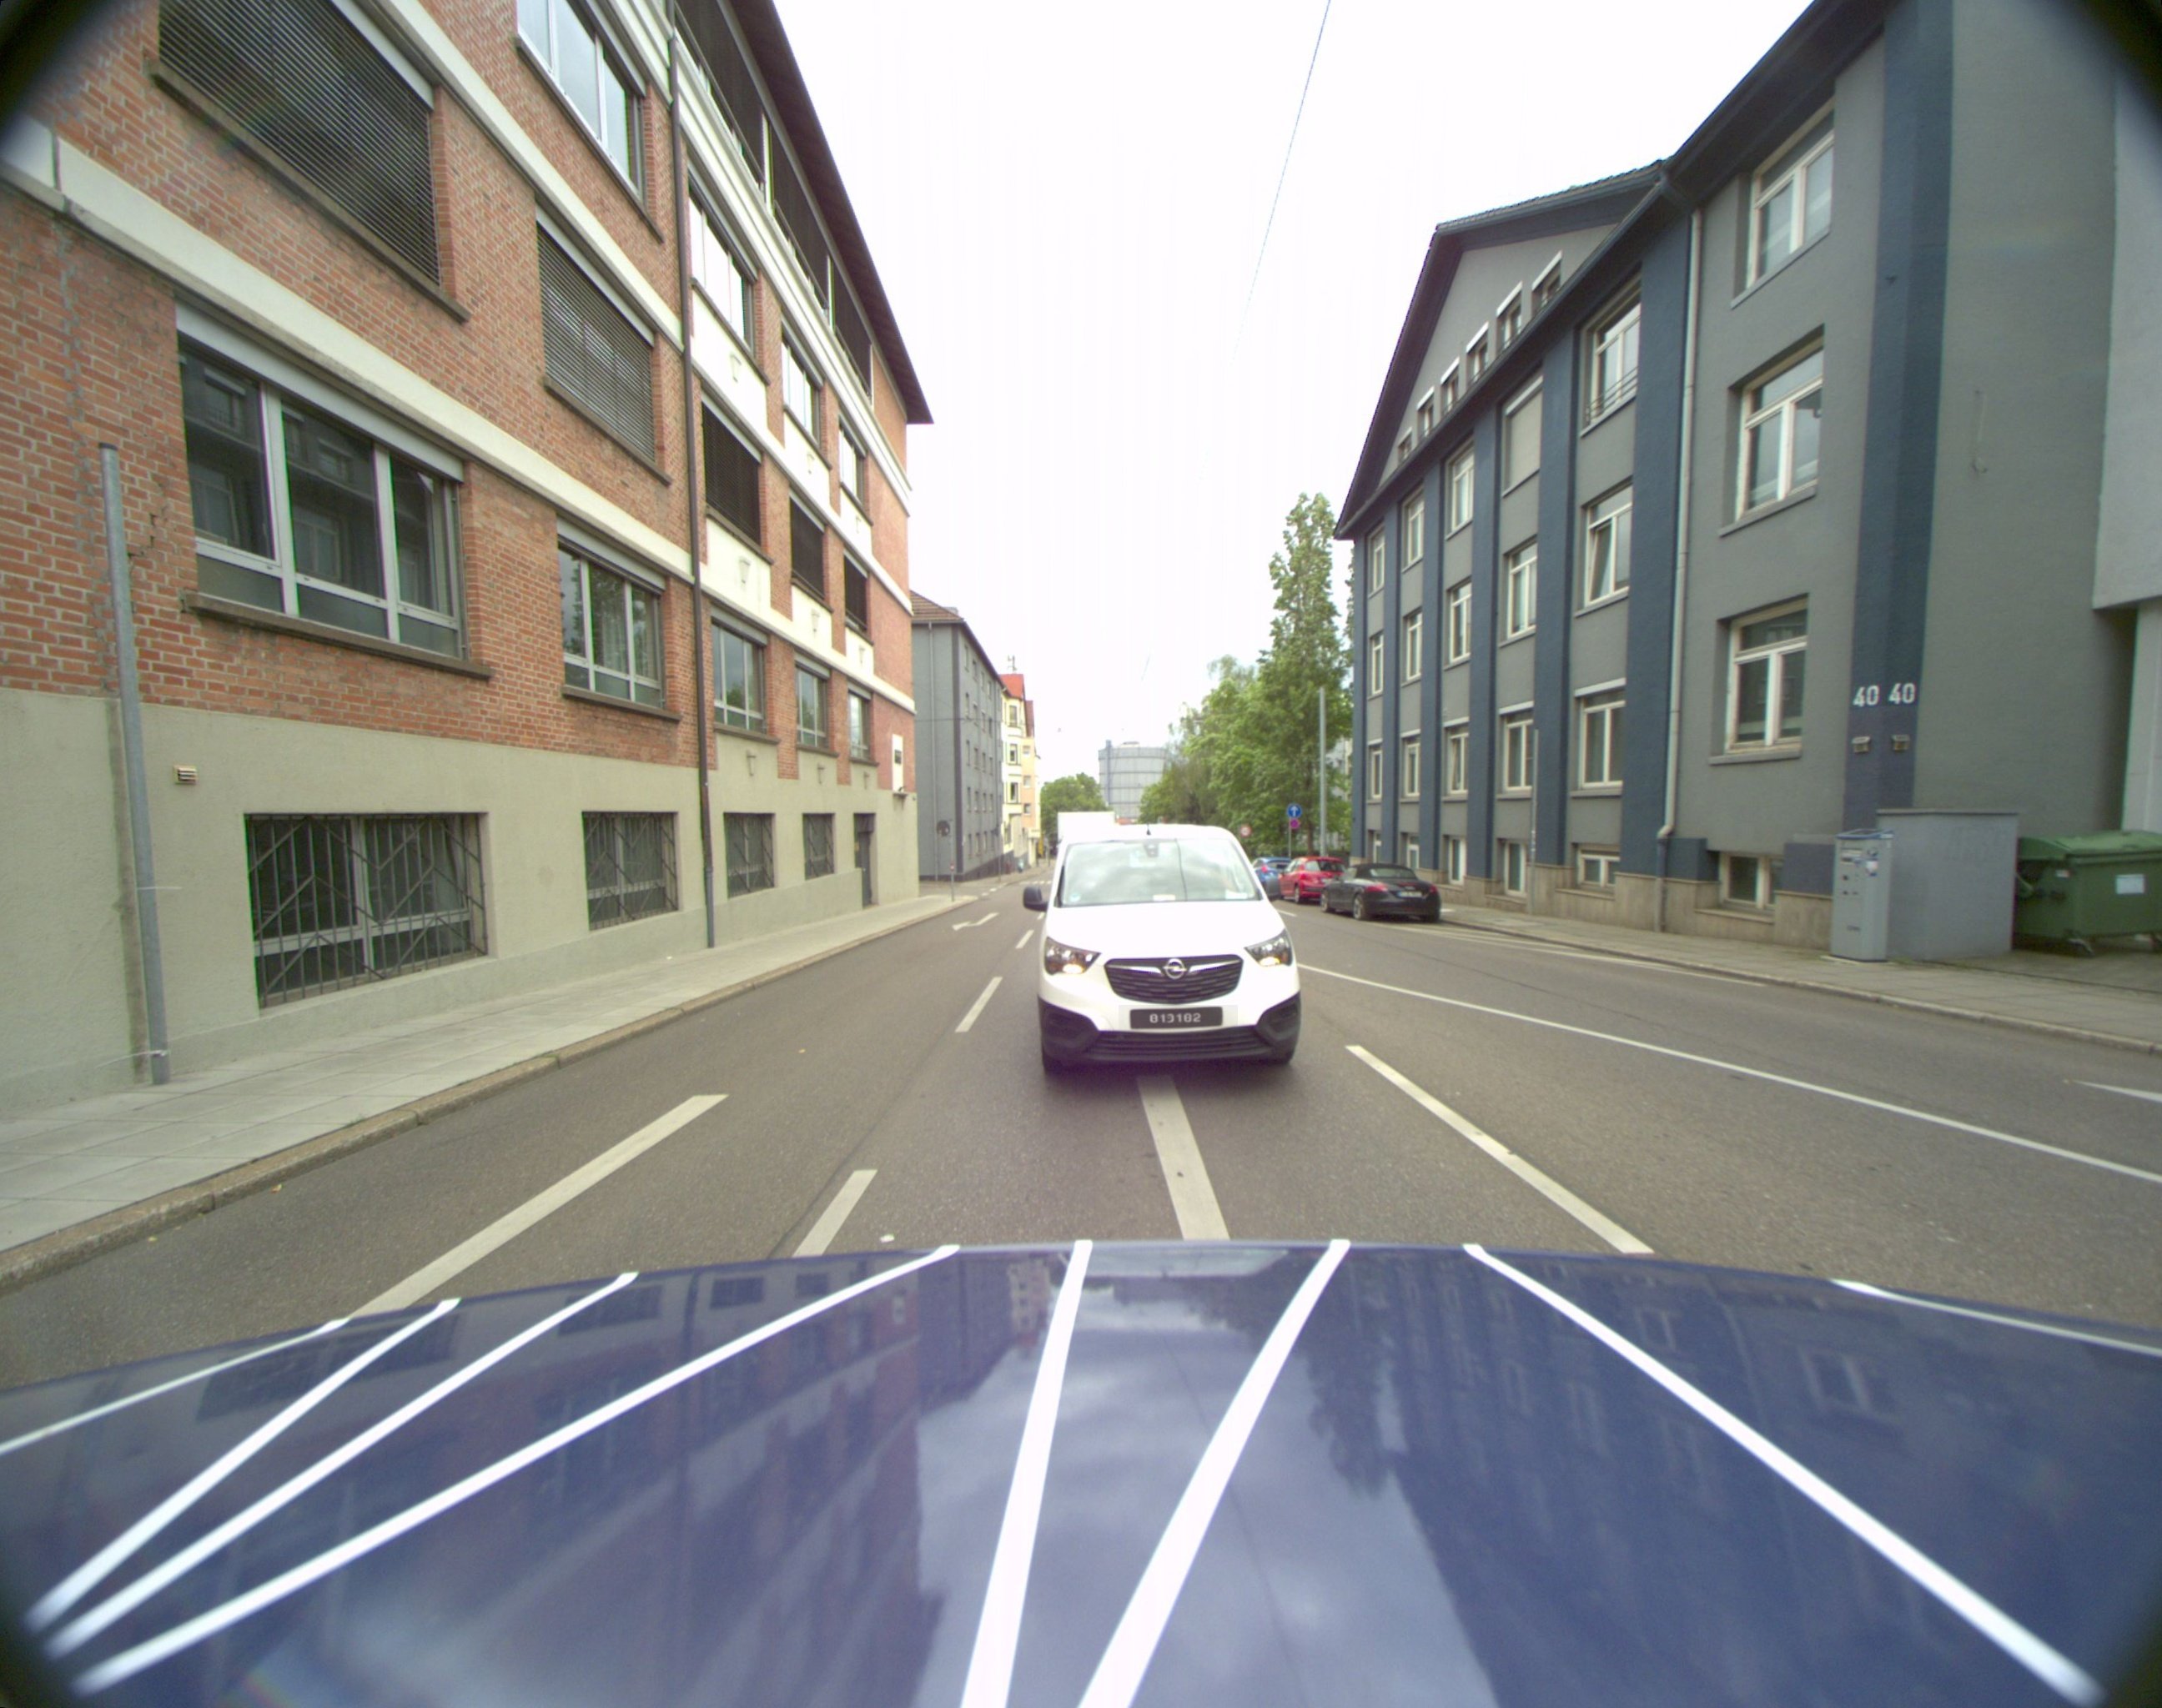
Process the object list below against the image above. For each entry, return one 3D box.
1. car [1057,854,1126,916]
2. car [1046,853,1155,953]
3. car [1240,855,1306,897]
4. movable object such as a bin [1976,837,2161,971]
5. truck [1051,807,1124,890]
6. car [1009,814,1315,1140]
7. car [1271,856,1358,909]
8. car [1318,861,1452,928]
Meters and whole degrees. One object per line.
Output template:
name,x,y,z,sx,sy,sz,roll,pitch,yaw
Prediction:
car,0.307,0.813,21.899,1.739,1.519,3.999,-2,1,1
car,0.346,0.804,14.407,1.739,1.519,3.999,-2,1,1
car,7.445,0.805,29.816,1.644,1.441,3.729,-2,1,1
movable object such as a bin,12.055,0.565,9.186,1.229,1.498,1.040,-2,1,1
truck,0.343,-0.294,36.672,2.969,3.409,8.879,-2,1,1
car,0.508,0.709,6.494,1.739,1.875,3.999,-2,1,1
car,7.370,0.858,24.359,1.644,1.441,3.729,-2,1,1
car,7.237,0.907,18.513,1.801,1.384,3.729,0,1,1
